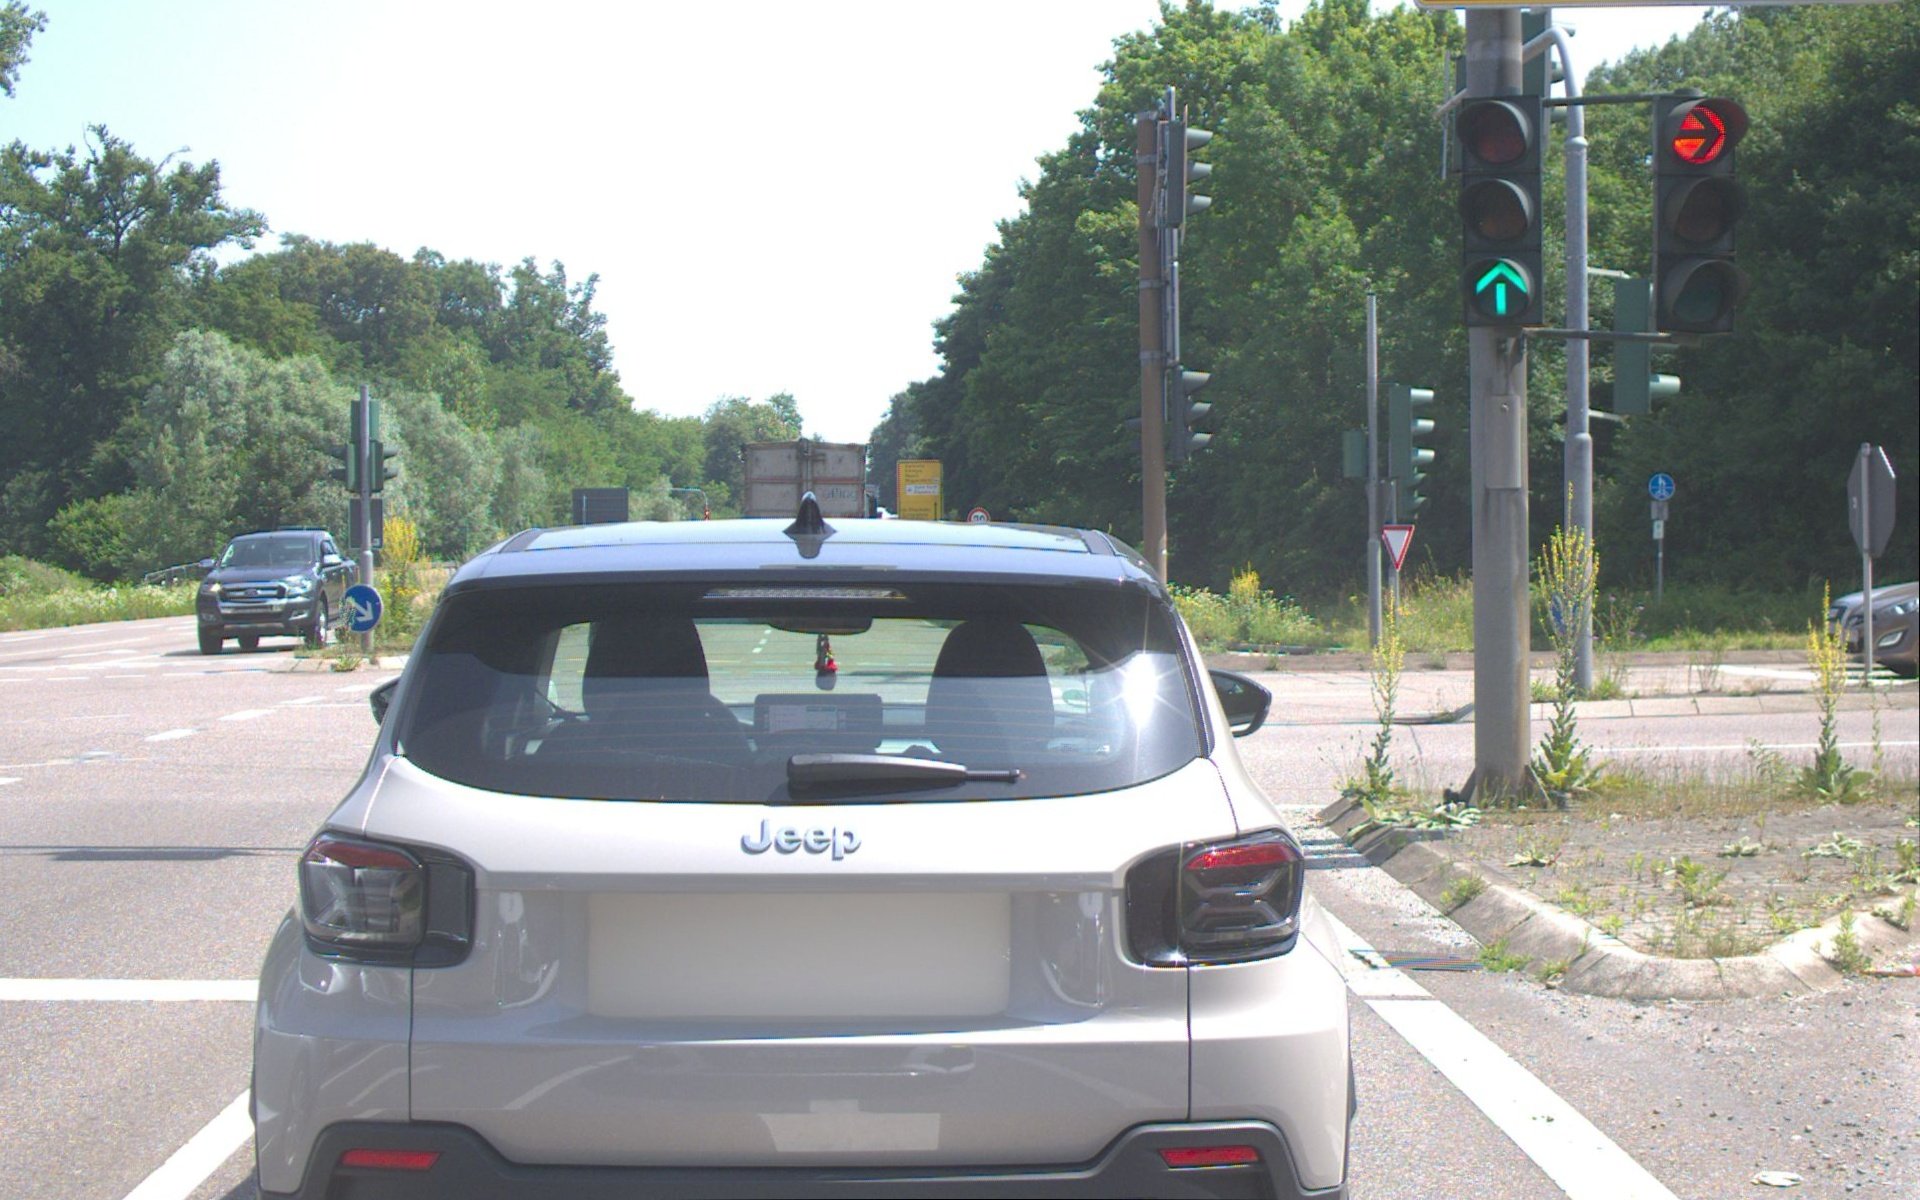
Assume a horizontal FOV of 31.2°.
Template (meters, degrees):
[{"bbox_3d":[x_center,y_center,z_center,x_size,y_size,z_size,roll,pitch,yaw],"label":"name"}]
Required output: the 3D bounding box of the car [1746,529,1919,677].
[{"bbox_3d":[10.360,-0.016,35.188,4.091,1.442,1.996,-1,1,-3],"label":"car"}]

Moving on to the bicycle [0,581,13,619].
[{"bbox_3d":[-26.345,0.026,93.010,0.676,1.001,1.800,-2,1,8],"label":"bicycle"}]

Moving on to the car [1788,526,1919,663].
[{"bbox_3d":[12.066,-0.085,38.803,4.932,1.493,2.020,-1,0,0],"label":"car"}]

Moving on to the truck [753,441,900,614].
[{"bbox_3d":[-3.280,-1.709,82.858,3.332,3.975,6.534,1,1,-4],"label":"truck"}]

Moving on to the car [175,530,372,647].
[{"bbox_3d":[-10.560,-0.216,53.281,1.993,1.672,5.366,-2,1,-1],"label":"car"}]

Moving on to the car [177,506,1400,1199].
[{"bbox_3d":[-0.271,0.597,6.978,1.767,1.529,4.000,0,1,-1],"label":"car"}]

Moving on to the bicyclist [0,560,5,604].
[{"bbox_3d":[-26.356,-0.484,93.090,0.757,1.191,0.592,-2,1,9],"label":"bicyclist"}]

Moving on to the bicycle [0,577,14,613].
[{"bbox_3d":[-27.221,-0.132,96.574,0.604,1.002,1.555,-2,1,10],"label":"bicycle"}]

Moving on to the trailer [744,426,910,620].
[{"bbox_3d":[-3.000,-1.648,76.815,3.382,3.975,10.805,1,1,-3],"label":"trailer"}]

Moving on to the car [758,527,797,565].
[{"bbox_3d":[-9.699,-2.880,182.986,1.993,2.007,4.554,-1,1,-3],"label":"car"}]
